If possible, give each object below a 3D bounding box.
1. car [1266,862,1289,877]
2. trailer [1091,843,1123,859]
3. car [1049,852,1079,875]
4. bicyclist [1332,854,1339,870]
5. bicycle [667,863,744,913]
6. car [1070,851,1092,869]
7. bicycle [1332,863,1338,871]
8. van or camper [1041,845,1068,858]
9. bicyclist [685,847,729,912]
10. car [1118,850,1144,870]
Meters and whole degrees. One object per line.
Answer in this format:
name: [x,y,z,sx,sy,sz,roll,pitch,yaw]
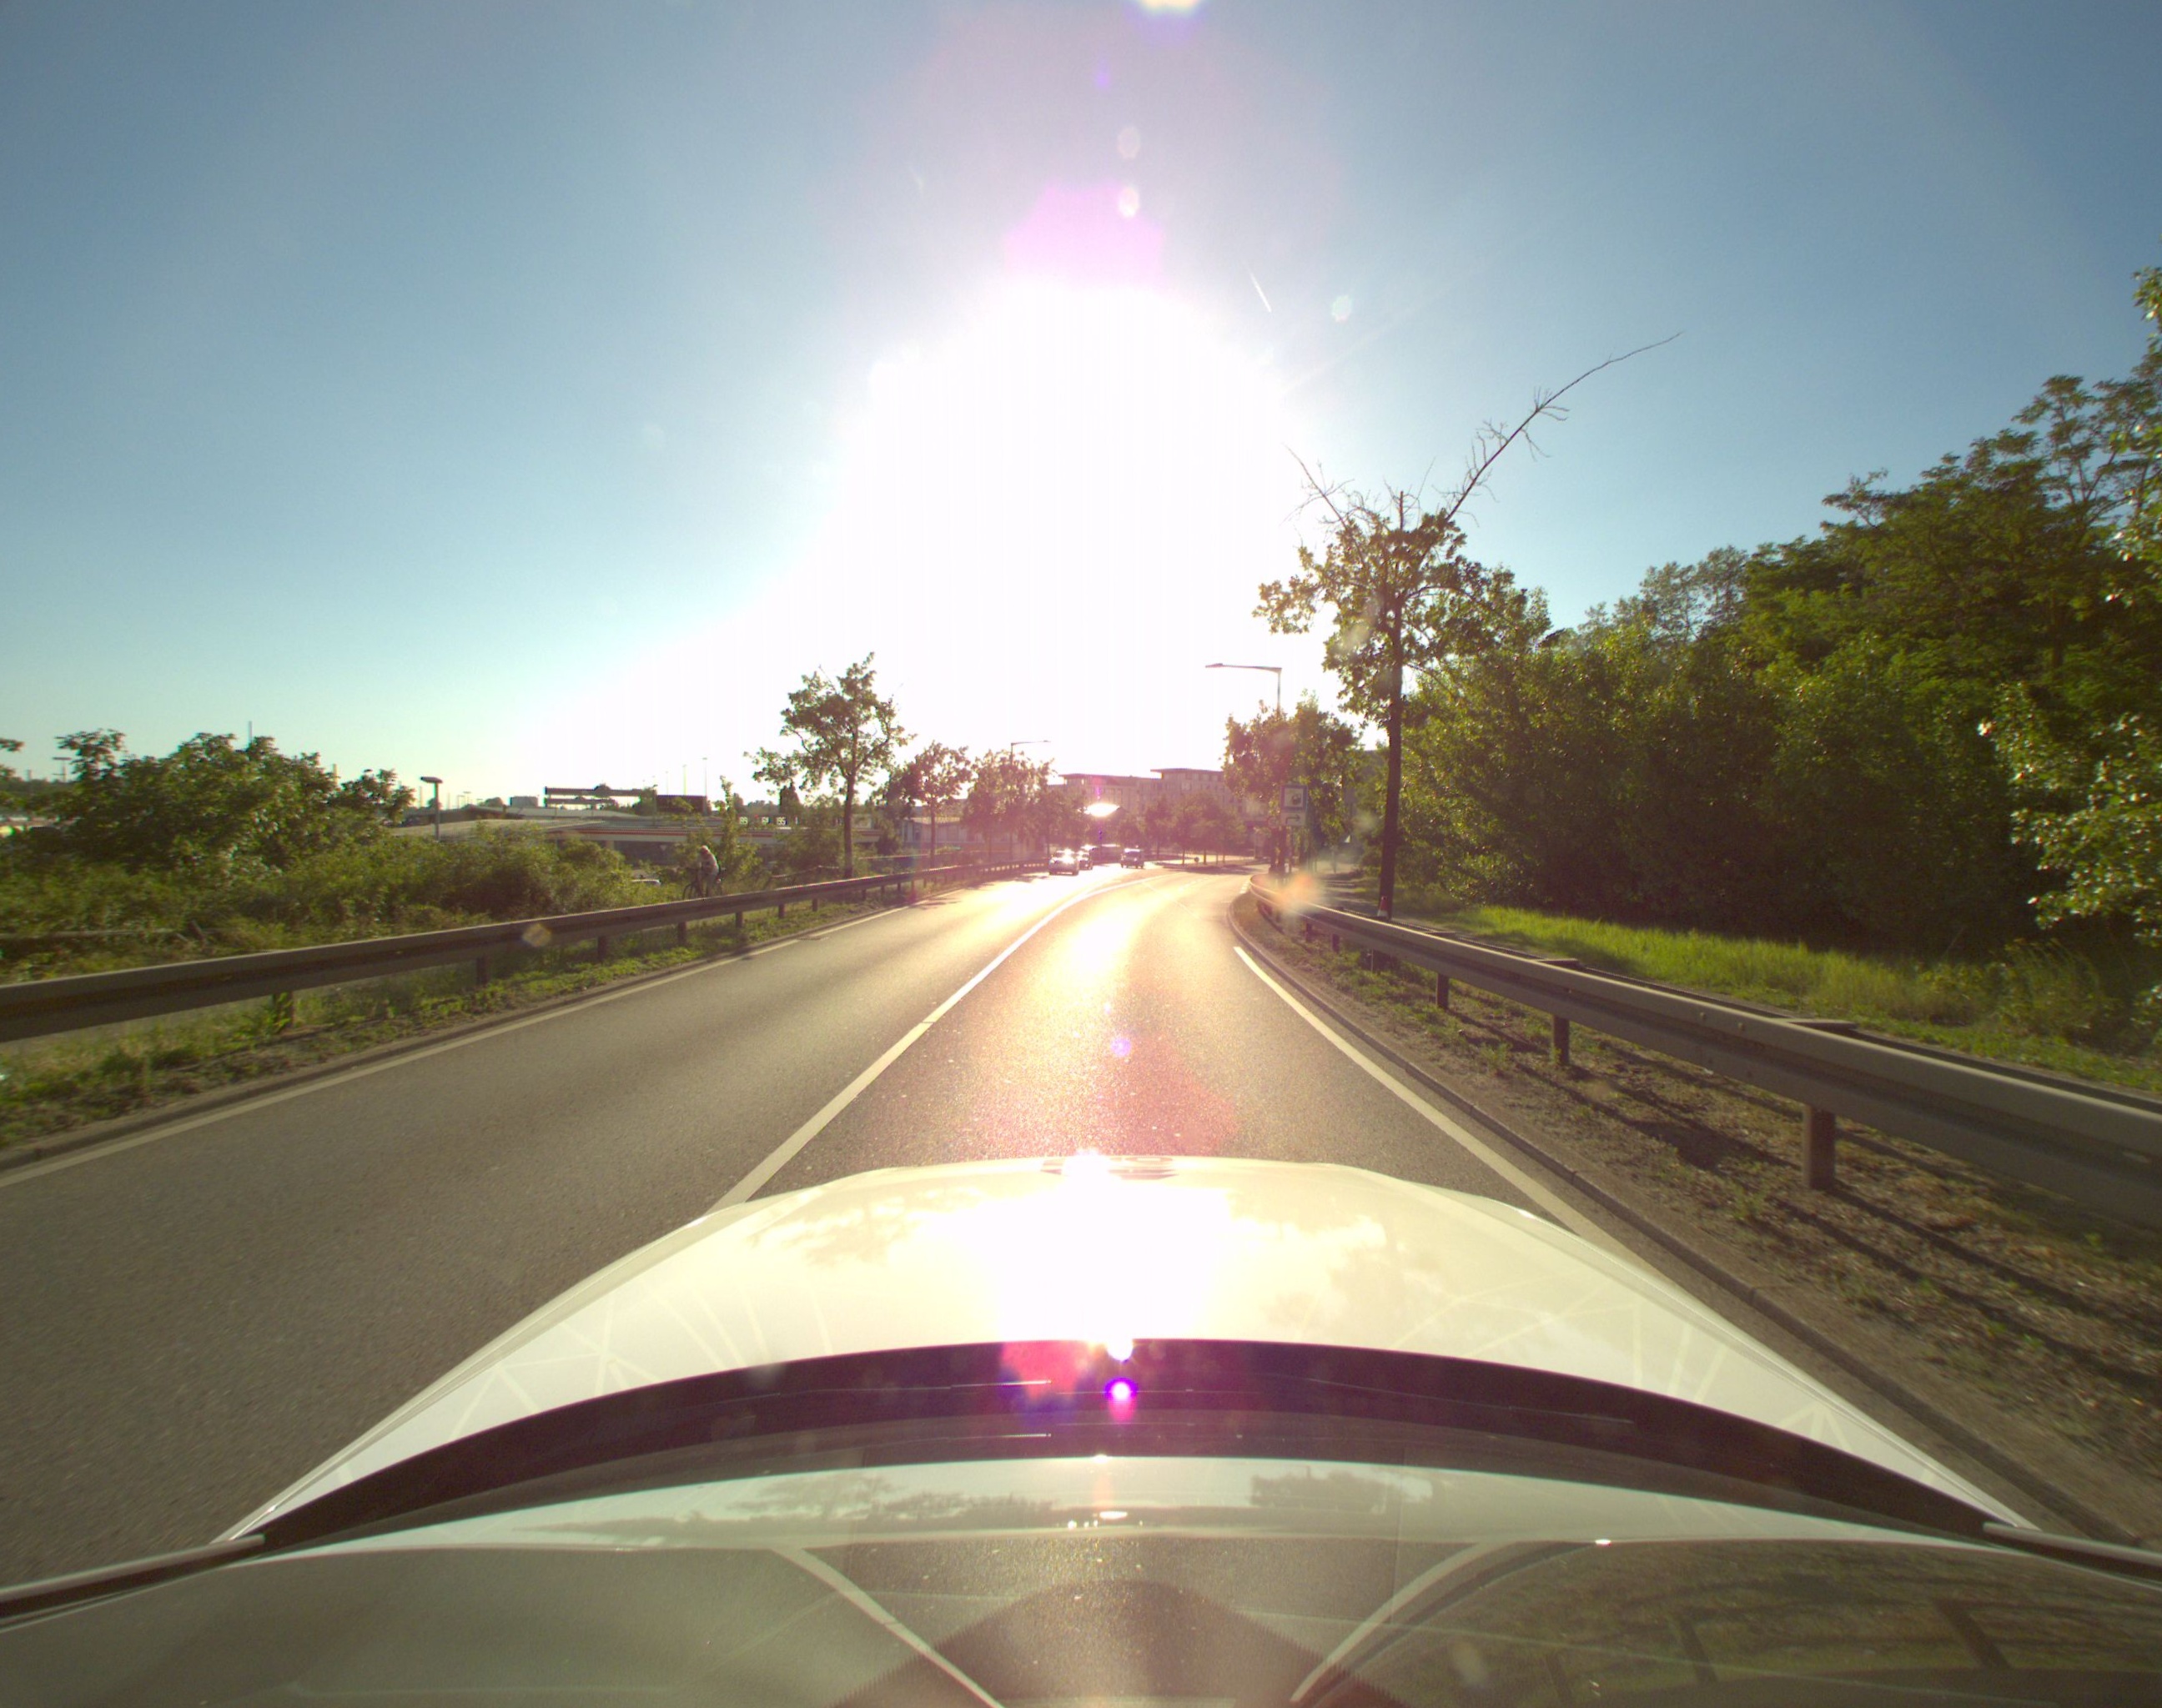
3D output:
car: [21.401,1.674,88.575,1.977,1.508,4.020,-1,-1,20]
trailer: [3.712,-0.425,114.369,2.399,1.969,6.640,2,1,21]
car: [-1.179,0.637,56.928,1.821,1.589,4.650,0,0,2]
bicyclist: [31.784,1.023,101.722,0.676,1.906,0.837,2,1,18]
bicycle: [-8.560,0.740,18.689,0.580,1.077,2.315,-1,-1,4]
car: [0.007,0.511,71.177,1.766,1.465,4.385,2,0,2]
bicycle: [31.697,1.589,101.585,0.574,0.963,2.900,2,1,18]
van or camper: [-3.994,-0.409,123.830,2.009,1.926,4.183,2,0,-37]
bicyclist: [-8.567,0.578,18.691,0.597,1.459,0.829,-1,-1,3]
car: [5.340,0.639,85.641,1.865,2.013,5.278,0,0,13]
